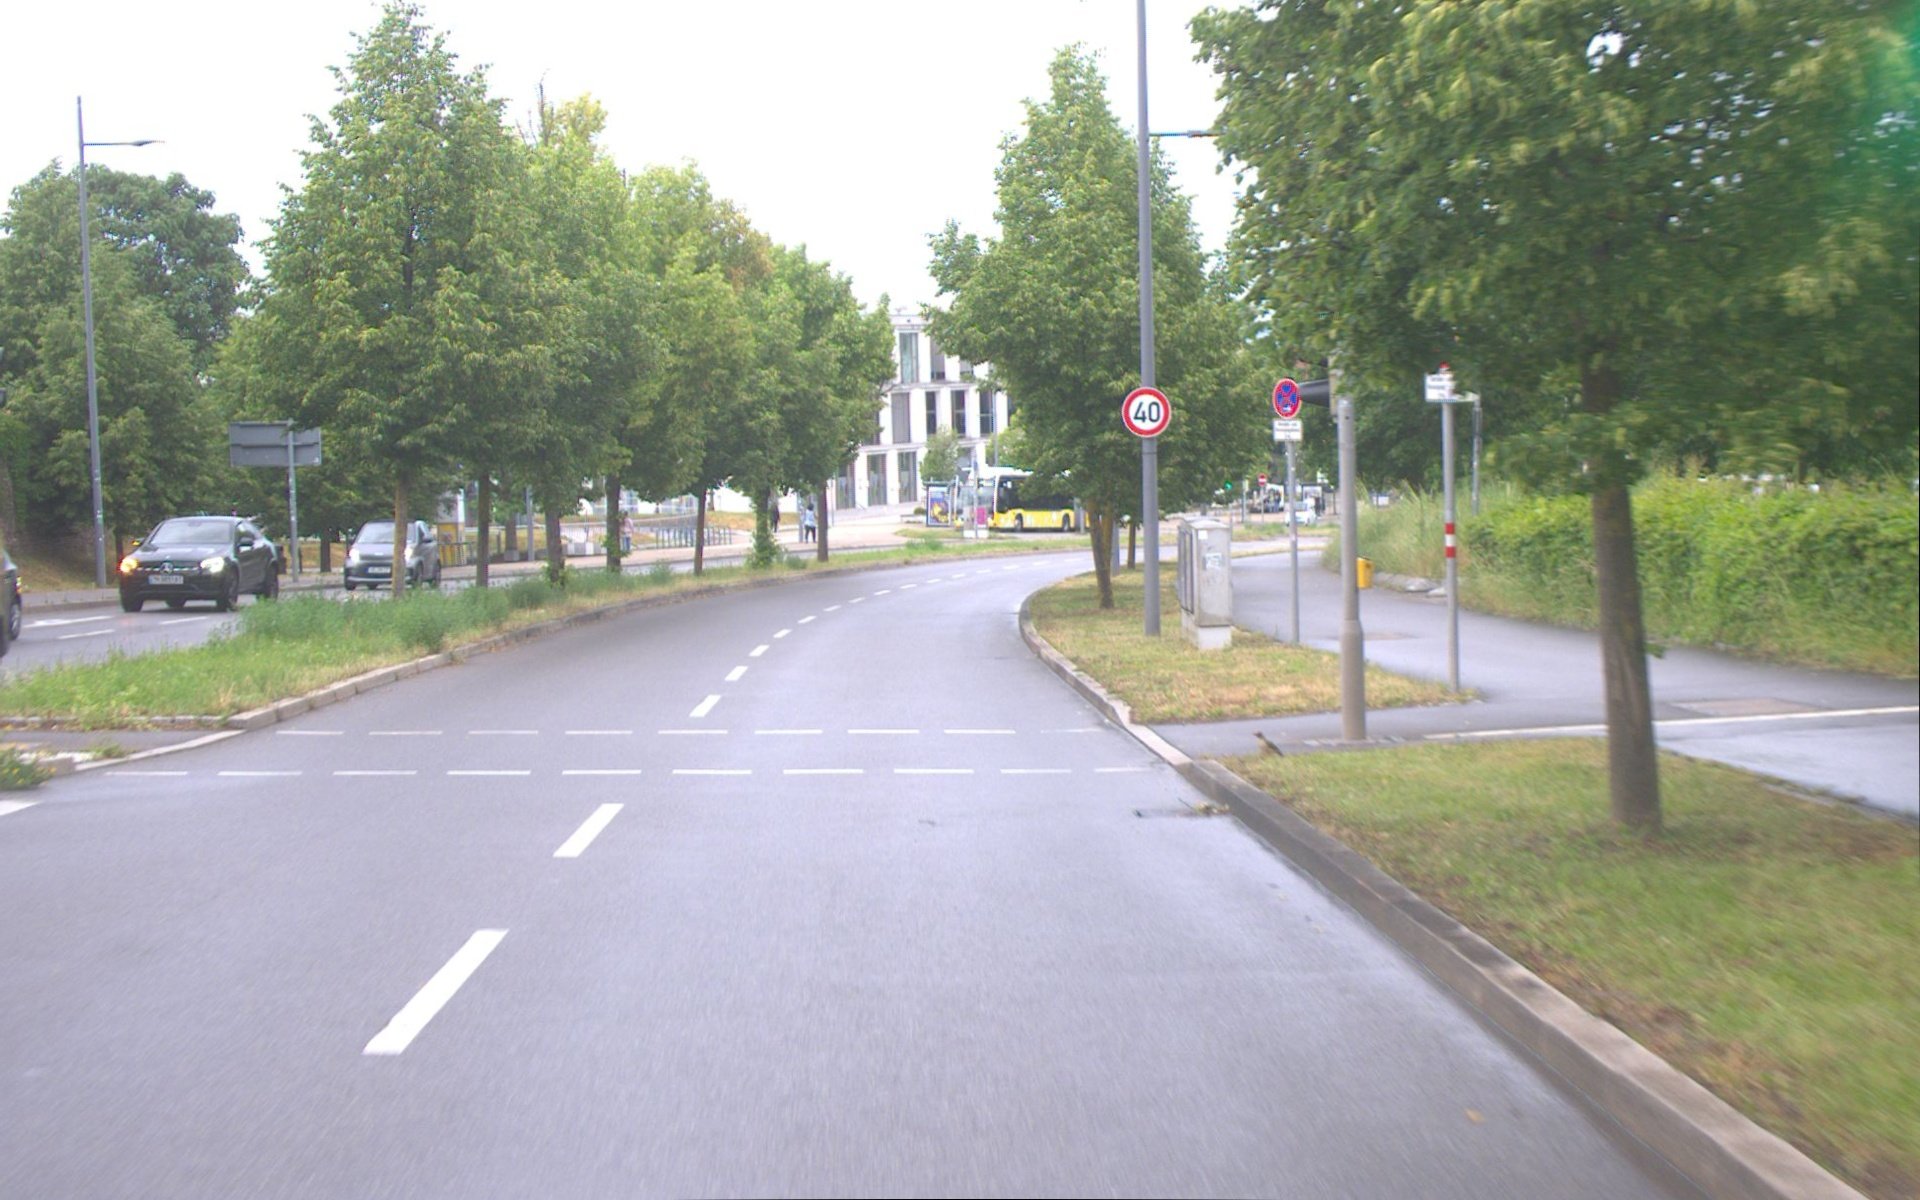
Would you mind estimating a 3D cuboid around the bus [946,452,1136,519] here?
[{"bbox_3d":[4.611,-6.142,186.618,2.789,3.345,18.201,0,1,27],"label":"bus"}]

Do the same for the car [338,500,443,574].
[{"bbox_3d":[-12.558,-1.403,75.927,1.686,1.534,2.916,0,3,3],"label":"car"}]

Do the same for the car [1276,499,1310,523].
[{"bbox_3d":[21.843,-5.827,225.273,1.480,1.489,2.527,0,1,25],"label":"car"}]

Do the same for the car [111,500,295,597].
[{"bbox_3d":[-13.025,-0.925,59.438,1.881,1.589,4.766,1,2,3],"label":"car"}]

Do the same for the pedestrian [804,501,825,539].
[{"bbox_3d":[-6.065,-3.350,143.590,0.834,1.568,0.719,0,1,-5],"label":"pedestrian"}]

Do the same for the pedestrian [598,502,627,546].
[{"bbox_3d":[-12.708,-2.771,125.740,0.814,1.615,0.935,0,1,12],"label":"pedestrian"}]

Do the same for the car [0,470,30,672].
[{"bbox_3d":[-10.032,-0.229,31.104,2.013,1.912,5.096,0,2,-2],"label":"car"}]
